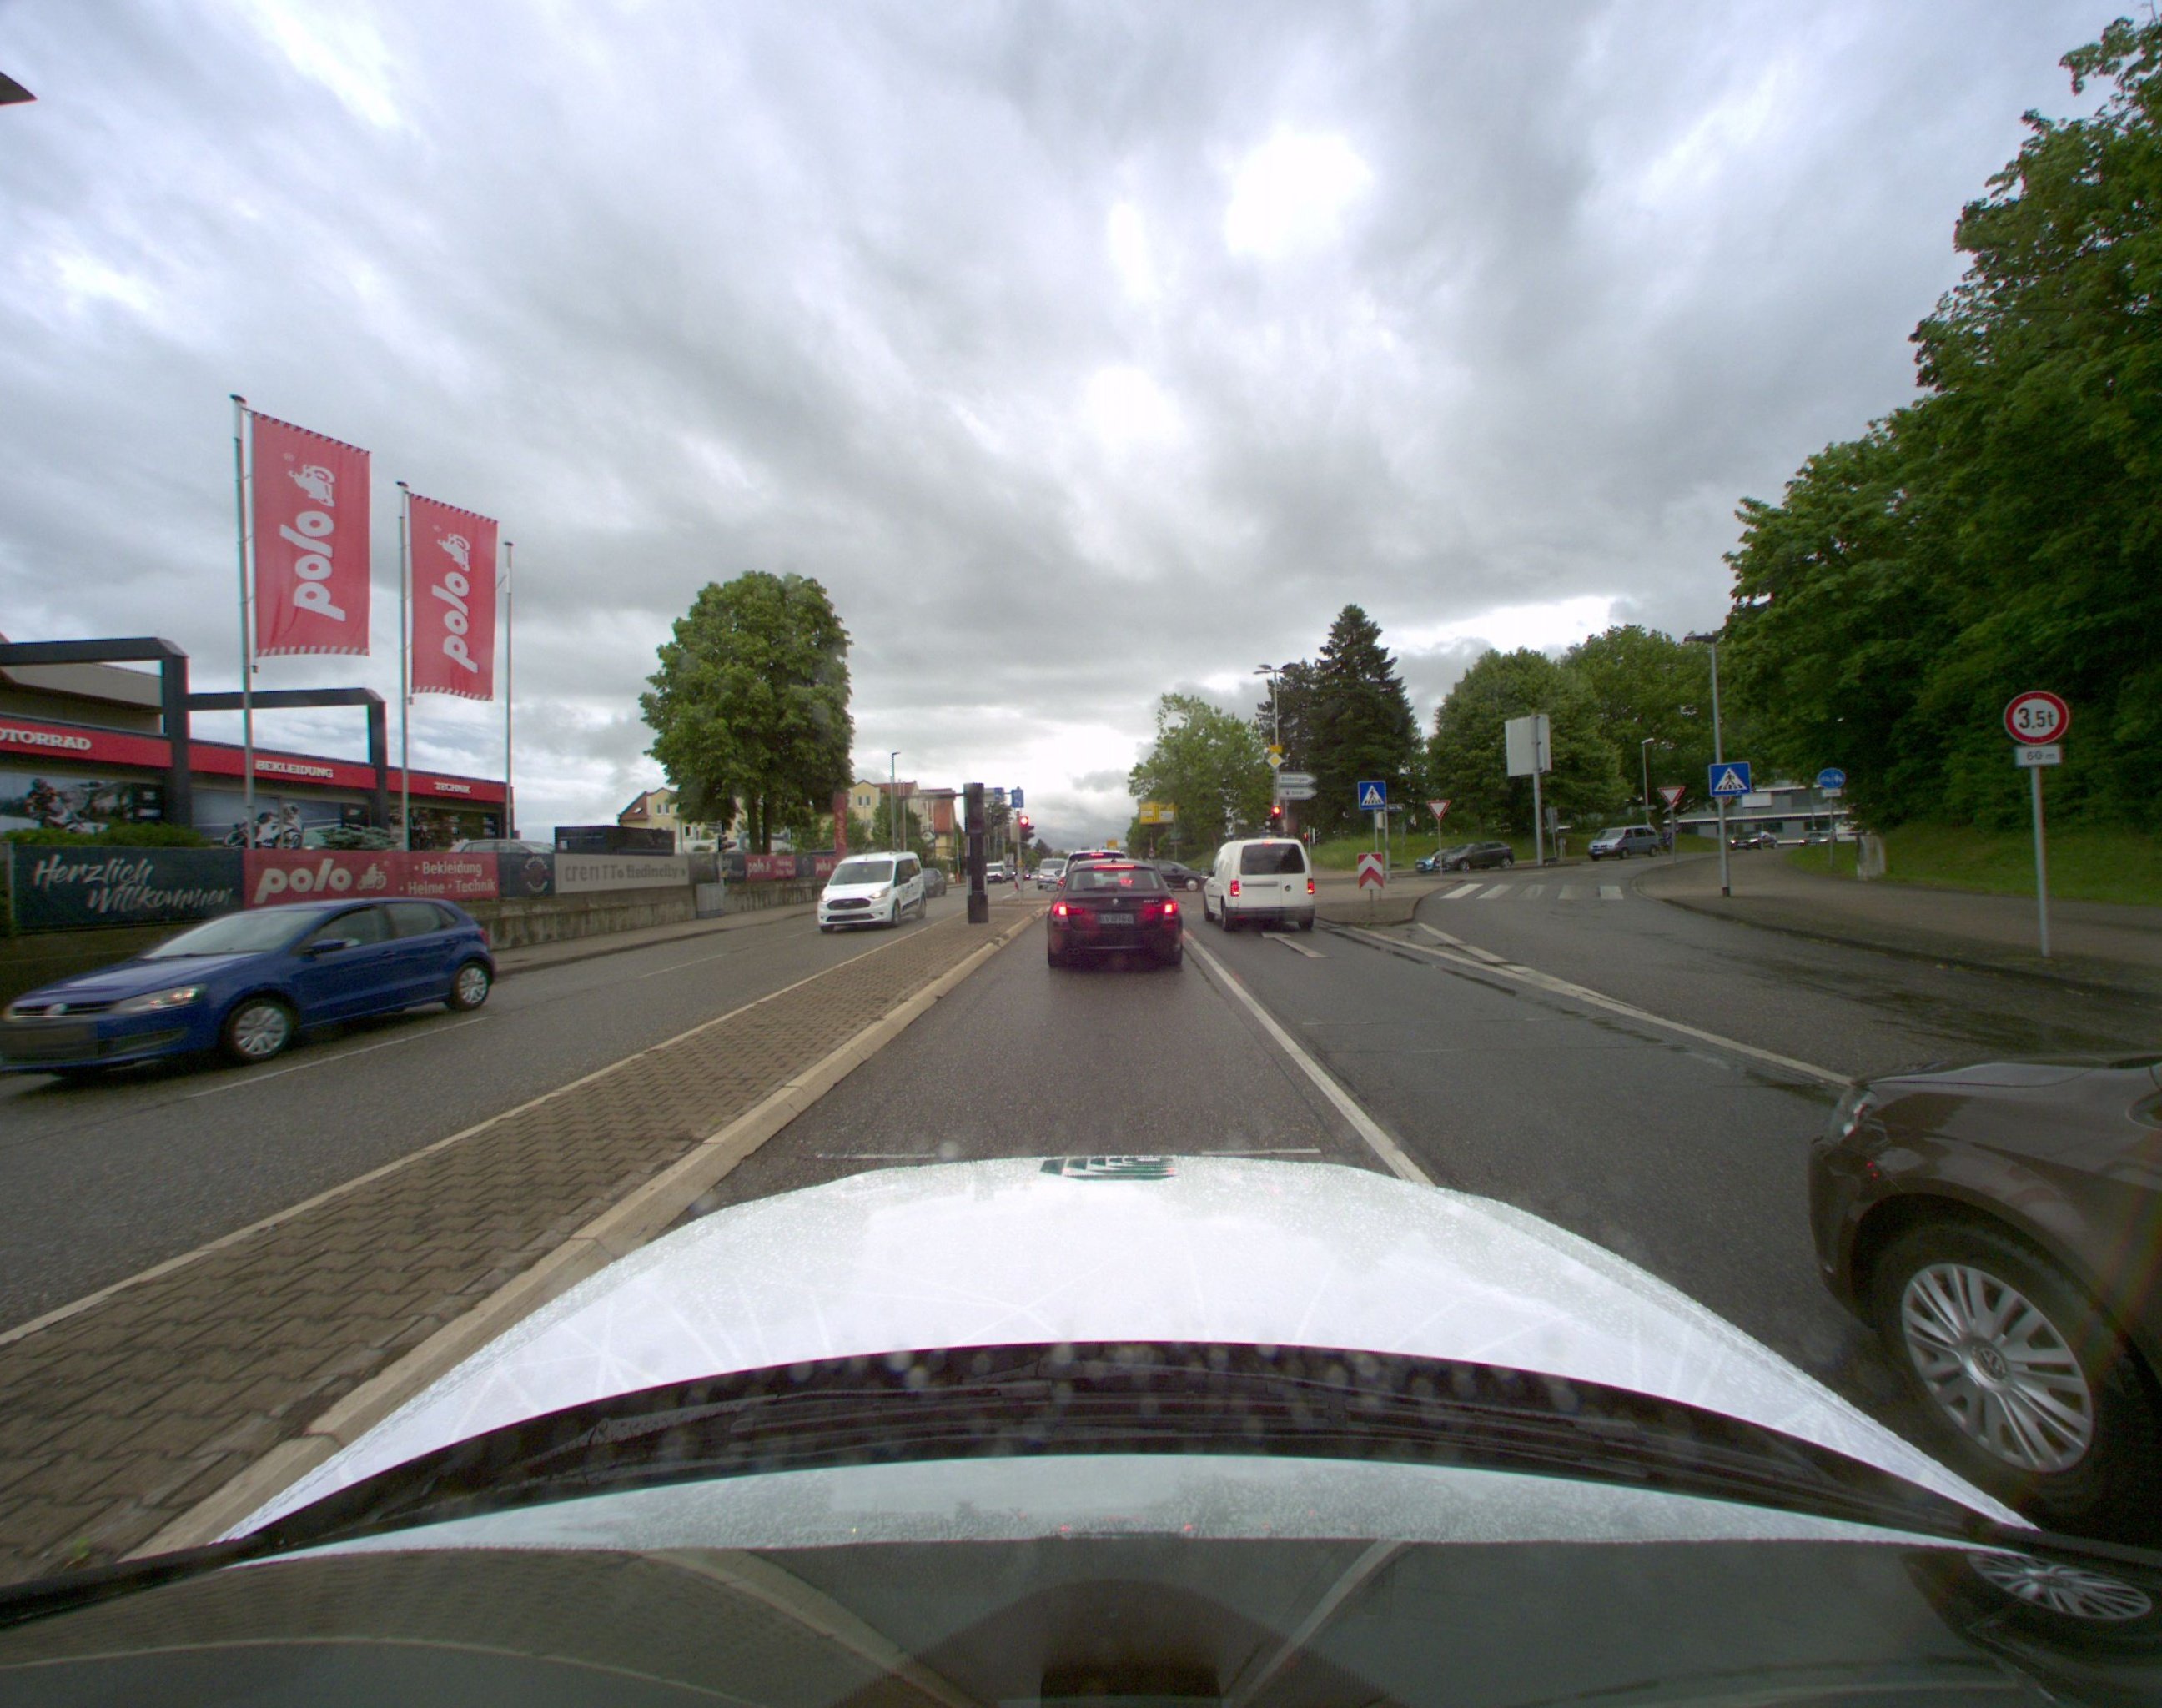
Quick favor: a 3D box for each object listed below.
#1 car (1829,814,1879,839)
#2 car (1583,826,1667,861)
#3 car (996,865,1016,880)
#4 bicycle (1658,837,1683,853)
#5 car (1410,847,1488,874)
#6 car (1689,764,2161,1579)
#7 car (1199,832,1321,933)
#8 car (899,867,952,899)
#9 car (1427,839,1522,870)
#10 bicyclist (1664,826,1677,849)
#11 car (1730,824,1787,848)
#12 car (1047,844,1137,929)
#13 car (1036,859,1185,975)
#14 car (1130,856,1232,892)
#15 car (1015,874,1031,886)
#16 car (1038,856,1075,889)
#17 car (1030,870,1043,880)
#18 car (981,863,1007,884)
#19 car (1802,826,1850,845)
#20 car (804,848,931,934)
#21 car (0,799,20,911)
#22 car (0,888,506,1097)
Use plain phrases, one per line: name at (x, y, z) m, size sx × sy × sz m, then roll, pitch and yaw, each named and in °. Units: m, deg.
car at (56.513, -2.005, 59.532) m, size 3.962 × 1.708 × 1.801 m, roll -3°, pitch 1°, yaw -34°
car at (31.778, -0.657, 47.591) m, size 4.750 × 1.851 × 1.885 m, roll -2°, pitch 1°, yaw -25°
car at (-8.028, 1.962, 87.074) m, size 1.662 × 1.354 × 3.443 m, roll -2°, pitch 0°, yaw 1°
bicycle at (38.140, -0.573, 52.687) m, size 1.753 × 0.953 × 0.574 m, roll -2°, pitch 0°, yaw -26°
car at (21.250, 0.350, 47.066) m, size 3.996 × 1.294 × 1.600 m, roll -4°, pitch 1°, yaw -16°
car at (2.940, 0.619, 0.766) m, size 1.708 × 1.596 × 4.131 m, roll -1°, pitch 1°, yaw 1°
car at (3.630, 0.541, 17.196) m, size 1.735 × 1.869 × 3.946 m, roll -1°, pitch 0°, yaw 1°
car at (-7.610, 1.376, 40.110) m, size 1.662 × 1.382 × 4.073 m, roll -2°, pitch 0°, yaw 1°
car at (21.130, 0.019, 43.776) m, size 4.321 × 1.467 × 1.892 m, roll -3°, pitch 0°, yaw -13°
bicyclist at (38.199, -1.054, 52.751) m, size 0.563 × 1.489 × 0.451 m, roll -2°, pitch 0°, yaw -26°
car at (47.447, -1.272, 57.036) m, size 4.014 × 1.447 × 1.820 m, roll -2°, pitch -1°, yaw -32°
car at (0.346, 0.657, 18.254) m, size 1.720 × 1.711 × 3.387 m, roll -1°, pitch 0°, yaw 5°
car at (0.522, 0.800, 12.138) m, size 1.846 × 1.419 × 3.962 m, roll -1°, pitch 0°, yaw 5°
car at (4.432, 0.883, 36.126) m, size 4.048 × 1.456 × 1.911 m, roll -2°, pitch 0°, yaw 22°
car at (-7.536, 3.332, 105.529) m, size 1.662 × 1.354 × 3.443 m, roll -2°, pitch 0°, yaw 1°
car at (-1.310, 0.988, 45.050) m, size 1.728 × 1.691 × 4.001 m, roll -2°, pitch -1°, yaw 1°
car at (-6.715, 3.232, 122.998) m, size 1.662 × 1.354 × 3.443 m, roll -2°, pitch 0°, yaw 1°
car at (-7.492, 1.633, 70.185) m, size 1.662 × 1.670 × 3.684 m, roll -2°, pitch 0°, yaw 1°
car at (59.200, -1.475, 64.728) m, size 4.016 × 1.321 × 1.938 m, roll -2°, pitch 0°, yaw -34°
car at (-5.241, 0.853, 20.656) m, size 1.851 × 1.823 × 4.579 m, roll -4°, pitch -1°, yaw 0°
car at (-16.344, 0.084, 10.430) m, size 3.403 × 1.509 × 1.583 m, roll -2°, pitch 0°, yaw 1°
car at (-8.094, 1.189, 8.327) m, size 1.629 × 1.381 × 3.765 m, roll -4°, pitch 0°, yaw 1°
